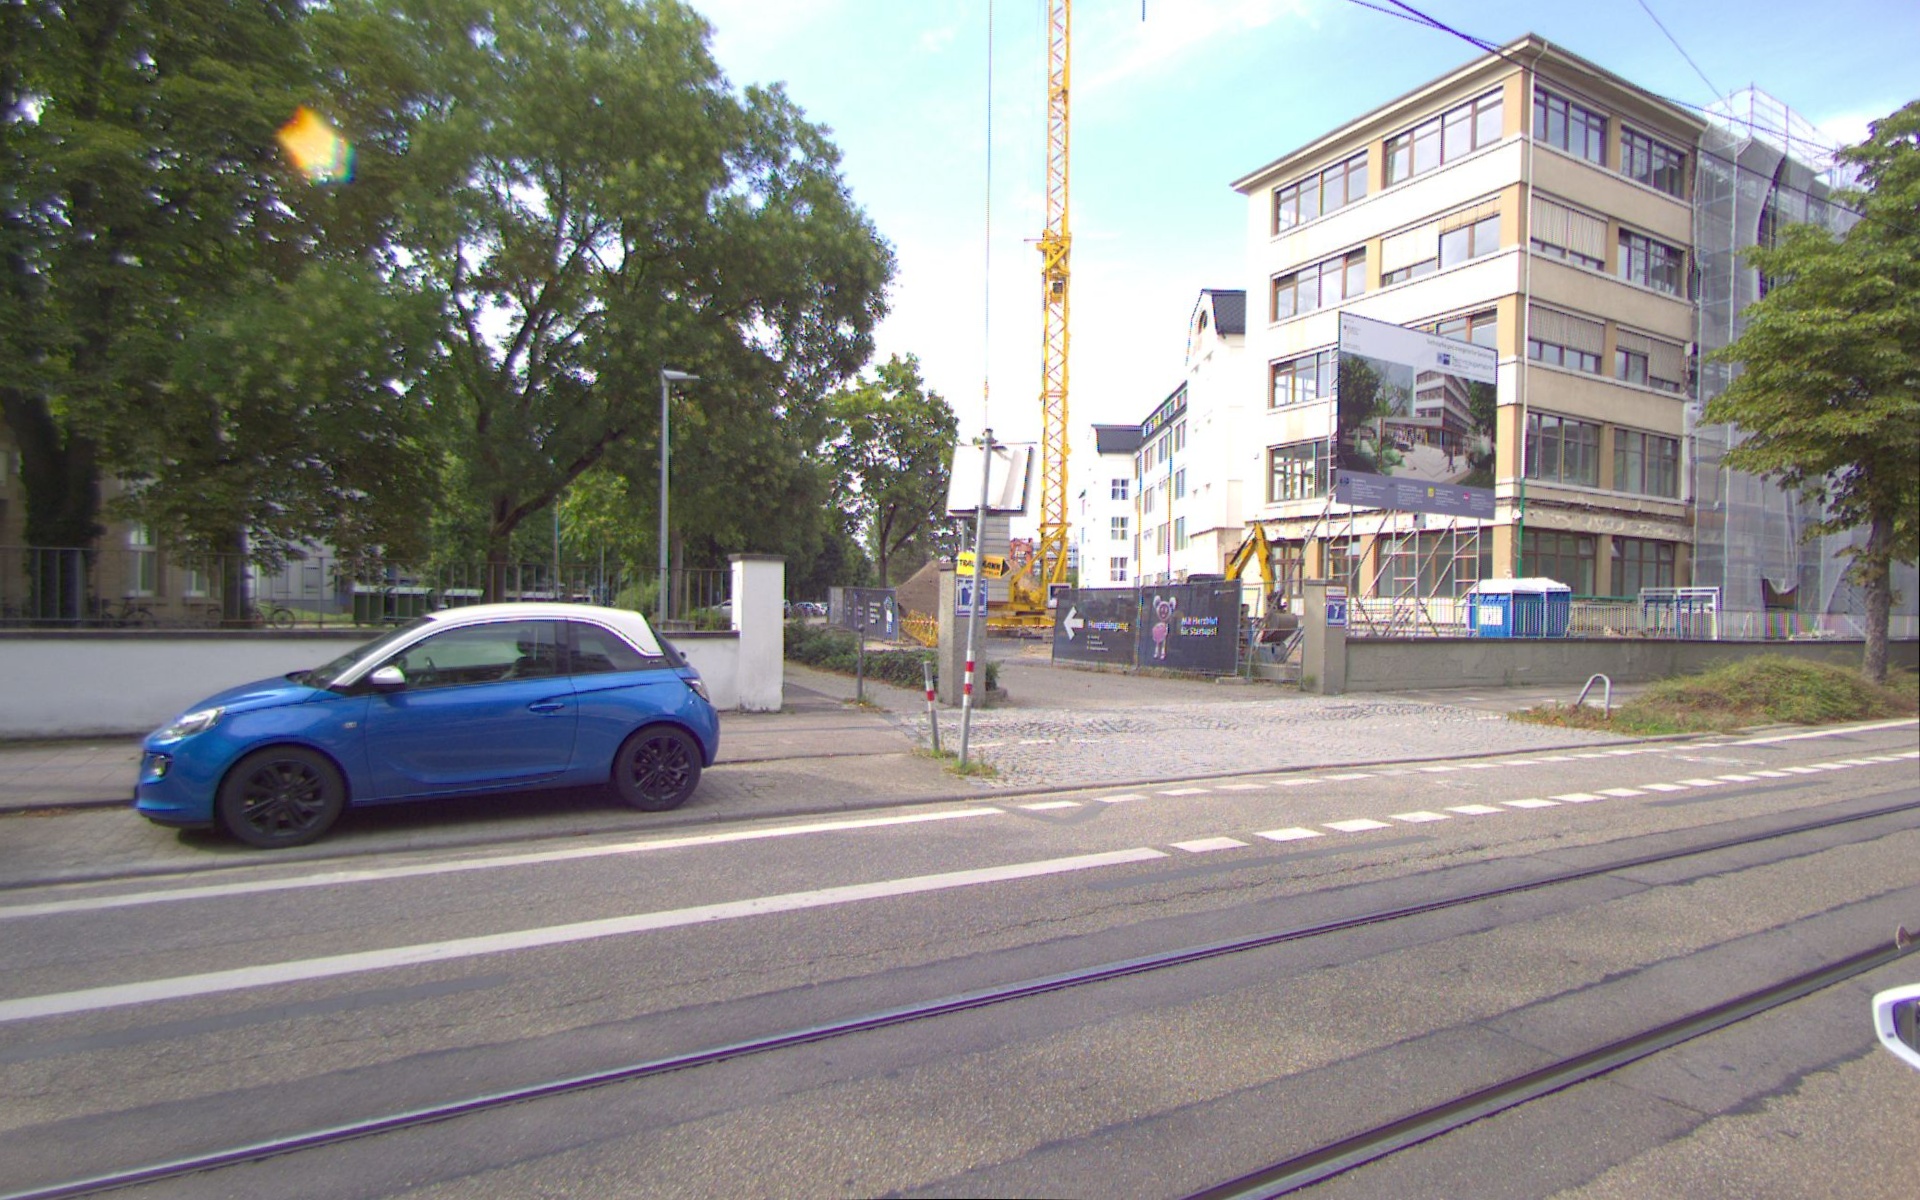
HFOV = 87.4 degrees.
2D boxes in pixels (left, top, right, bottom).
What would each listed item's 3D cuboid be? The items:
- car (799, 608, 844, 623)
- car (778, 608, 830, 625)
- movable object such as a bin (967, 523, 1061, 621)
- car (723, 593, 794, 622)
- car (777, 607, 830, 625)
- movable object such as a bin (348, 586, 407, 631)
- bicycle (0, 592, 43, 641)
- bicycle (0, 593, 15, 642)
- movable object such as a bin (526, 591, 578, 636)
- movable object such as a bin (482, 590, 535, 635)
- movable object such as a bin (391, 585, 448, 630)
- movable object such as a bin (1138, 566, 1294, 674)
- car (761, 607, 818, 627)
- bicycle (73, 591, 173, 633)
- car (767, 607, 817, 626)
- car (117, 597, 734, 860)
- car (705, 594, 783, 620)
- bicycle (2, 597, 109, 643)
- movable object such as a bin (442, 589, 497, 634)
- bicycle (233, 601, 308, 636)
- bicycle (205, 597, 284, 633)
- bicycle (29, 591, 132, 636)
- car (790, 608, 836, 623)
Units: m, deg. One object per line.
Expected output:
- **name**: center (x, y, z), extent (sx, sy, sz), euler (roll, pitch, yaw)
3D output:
- **car**: center (-15.024, 1.650, 108.887), extent (4.719, 1.508, 1.997), euler (2, 0, -8)
- **car**: center (-14.693, 1.547, 94.802), extent (4.719, 1.508, 1.997), euler (2, 0, -8)
- **movable object such as a bin**: center (4.257, -1.867, 75.039), extent (3.781, 6.758, 10.988), euler (2, 0, 20)
- **car**: center (-15.178, 0.574, 75.891), extent (4.965, 1.979, 1.999), euler (2, 0, -4)
- **car**: center (-14.309, 1.483, 91.977), extent (4.719, 1.508, 1.997), euler (2, 0, -8)
- **movable object such as a bin**: center (-19.373, 0.294, 33.444), extent (1.259, 1.449, 1.122), euler (2, 0, -2)
- **bicycle**: center (-21.914, 0.351, 22.598), extent (1.940, 1.057, 0.594), euler (1, 1, -4)
- **bicycle**: center (-21.831, 0.365, 21.818), extent (1.940, 1.057, 0.594), euler (1, 1, -4)
- **movable object such as a bin**: center (-13.581, 0.459, 33.469), extent (1.259, 1.449, 1.122), euler (2, 0, -2)
- **movable object such as a bin**: center (-15.099, 0.424, 33.634), extent (1.259, 1.449, 1.122), euler (2, 0, -2)
- **movable object such as a bin**: center (-18.010, 0.244, 33.508), extent (1.259, 1.449, 1.122), euler (2, 0, -2)
- **movable object such as a bin**: center (6.284, 0.480, 24.991), extent (2.459, 2.475, 3.048), euler (2, 0, -19)
- **car**: center (-14.536, 1.446, 85.991), extent (4.719, 1.508, 1.997), euler (2, 0, -8)
- **bicycle**: center (-22.344, 0.327, 26.862), extent (1.953, 1.057, 0.590), euler (1, 1, -28)
- **car**: center (-14.782, 1.476, 88.655), extent (4.268, 1.564, 1.751), euler (2, 0, -8)
- **car**: center (-3.634, 0.757, 7.307), extent (3.560, 1.484, 1.620), euler (1, 0, -30)
- **car**: center (-13.827, 0.454, 64.600), extent (4.719, 1.508, 1.997), euler (2, 0, -8)
- **bicycle**: center (-21.857, 0.475, 24.299), extent (1.940, 1.057, 0.594), euler (1, 1, -4)
- **movable object such as a bin**: center (-16.437, 0.384, 33.707), extent (1.259, 1.449, 1.122), euler (2, 0, -2)
- **bicycle**: center (-22.199, 0.596, 32.353), extent (1.940, 1.057, 0.594), euler (1, 1, -4)
- **bicycle**: center (-22.078, 0.466, 30.998), extent (1.940, 1.057, 0.594), euler (1, 1, -4)
- **bicycle**: center (-21.943, 0.329, 25.079), extent (1.940, 1.057, 0.594), euler (1, 1, -4)
- **car**: center (-15.506, 1.630, 105.875), extent (4.719, 1.508, 1.997), euler (2, 0, -8)
